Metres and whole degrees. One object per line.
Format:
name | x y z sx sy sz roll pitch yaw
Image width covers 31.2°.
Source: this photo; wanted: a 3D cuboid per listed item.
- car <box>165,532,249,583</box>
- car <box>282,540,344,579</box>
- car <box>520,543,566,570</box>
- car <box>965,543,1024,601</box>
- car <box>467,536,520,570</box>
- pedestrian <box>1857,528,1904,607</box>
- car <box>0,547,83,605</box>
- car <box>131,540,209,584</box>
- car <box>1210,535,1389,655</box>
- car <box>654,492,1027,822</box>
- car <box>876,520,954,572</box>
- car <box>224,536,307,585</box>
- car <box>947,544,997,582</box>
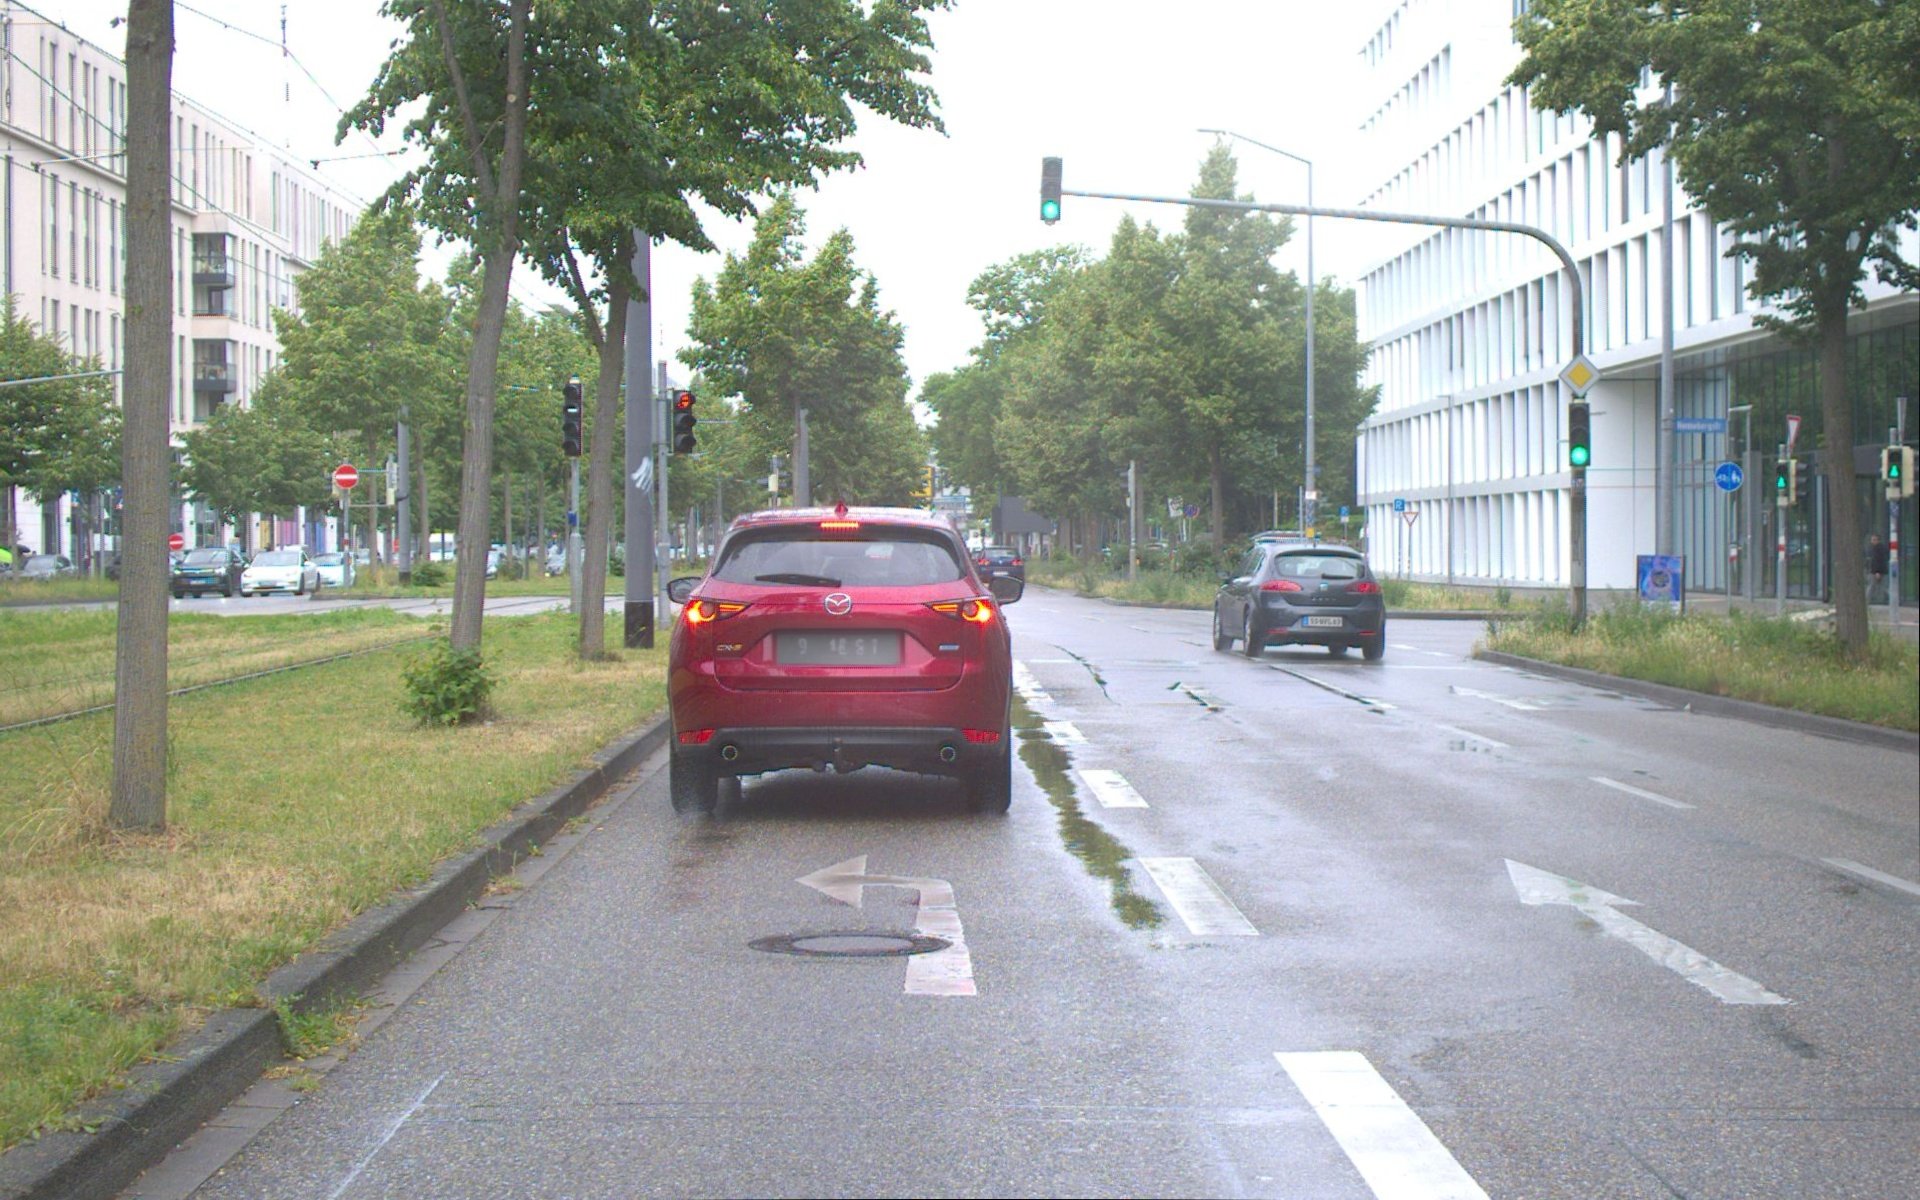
car | -24.523 -1.401 112.106 1.993 1.612 4.001 0 1 -2
car | -25.108 -1.582 133.493 1.993 1.479 4.446 0 1 -5
car | -23.180 -2.416 191.245 1.993 1.479 4.446 0 1 0
car | 1.201 -1.006 120.937 1.993 2.007 4.000 0 1 -1
car | -20.937 -2.136 154.426 1.993 1.479 4.446 0 1 -3
pedestrian | 20.080 -0.709 74.992 0.783 1.701 0.678 1 1 37
car | -29.926 -0.792 111.611 1.993 1.831 4.000 0 1 -1
car | -27.572 -1.354 120.111 1.993 1.479 4.446 0 1 -4
car | 4.330 -0.098 44.399 1.743 1.460 3.782 0 1 -3
car | -0.653 0.251 19.582 1.898 1.671 4.000 0 1 -1
car | -1.340 -1.598 100.694 1.967 1.432 4.553 1 1 -5
car | -21.687 -1.258 107.486 1.993 1.479 4.446 0 1 -5
car | 0.467 -1.543 141.669 1.993 1.526 4.000 0 1 -1
